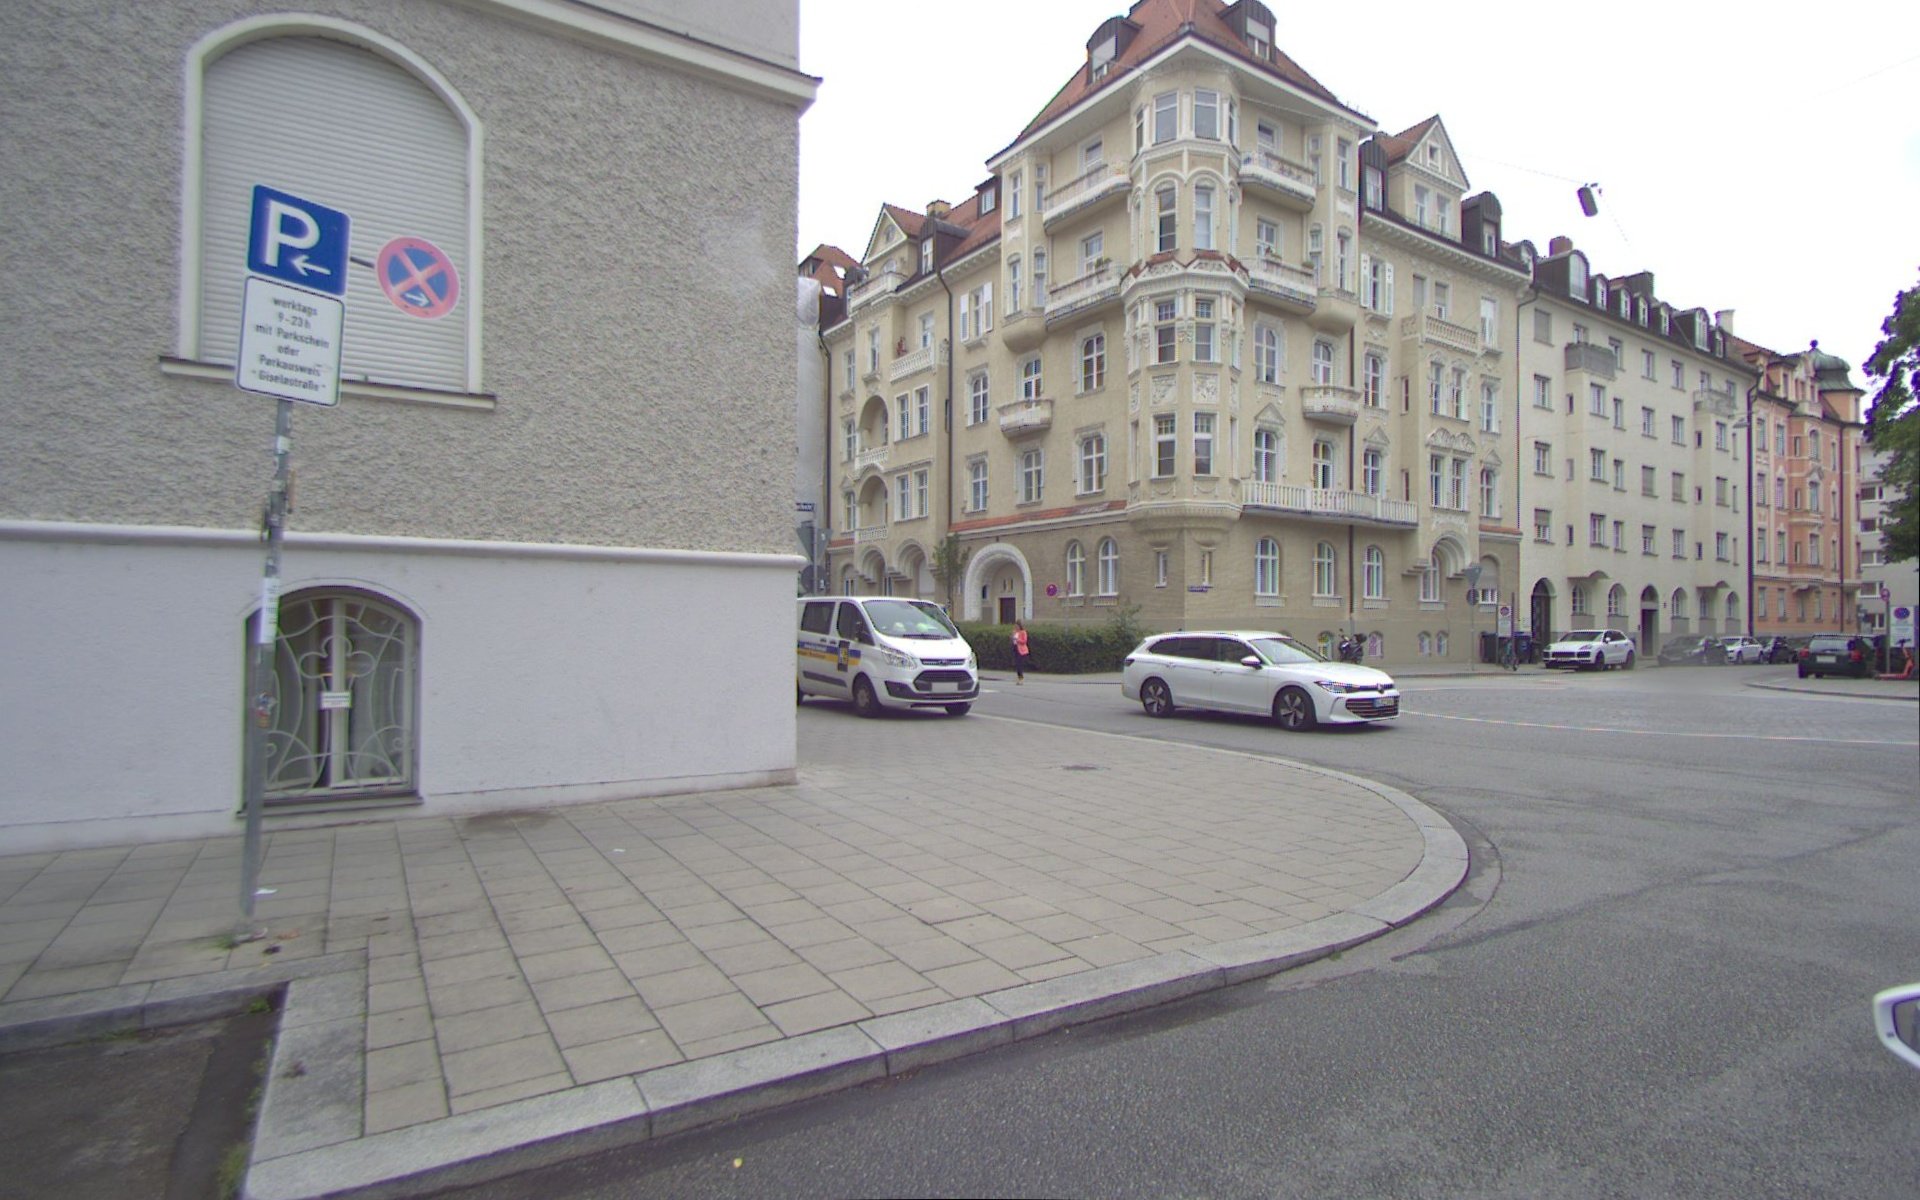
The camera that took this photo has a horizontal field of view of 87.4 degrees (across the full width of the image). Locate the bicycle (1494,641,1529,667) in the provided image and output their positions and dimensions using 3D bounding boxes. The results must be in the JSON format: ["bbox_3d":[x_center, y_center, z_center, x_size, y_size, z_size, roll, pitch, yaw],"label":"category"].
[{"bbox_3d":[22.871,2.236,41.654,1.812,1.063,0.559,2,-2,-36],"label":"bicycle"}]

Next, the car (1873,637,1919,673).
[{"bbox_3d":[42.051,2.426,44.502,4.081,1.525,1.779,2,-3,-40],"label":"car"}]

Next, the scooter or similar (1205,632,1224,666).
[{"bbox_3d":[8.689,1.663,34.292,0.459,1.130,1.215,1,-1,23],"label":"scooter or similar"}]

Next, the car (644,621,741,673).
[{"bbox_3d":[-7.656,1.299,28.557,1.678,1.364,3.648,2,-2,-32],"label":"car"}]

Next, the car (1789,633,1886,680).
[{"bbox_3d":[30.178,1.921,34.507,4.386,1.525,1.804,2,-3,-40],"label":"car"}]

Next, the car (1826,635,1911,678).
[{"bbox_3d":[34.218,2.085,37.809,4.199,1.525,1.779,2,-3,-40],"label":"car"}]

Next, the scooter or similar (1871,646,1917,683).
[{"bbox_3d":[29.069,2.013,31.262,0.984,1.103,0.390,0,-1,29],"label":"scooter or similar"}]

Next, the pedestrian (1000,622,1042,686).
[{"bbox_3d":[1.623,1.410,26.646,0.849,1.657,0.724,2,-2,-41],"label":"pedestrian"}]

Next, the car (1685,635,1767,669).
[{"bbox_3d":[38.319,2.560,50.250,4.361,1.602,1.964,2,-1,-33],"label":"car"}]

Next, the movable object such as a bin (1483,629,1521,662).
[{"bbox_3d":[24.141,2.037,44.757,1.161,1.444,1.085,2,-2,-33],"label":"movable object such as a bin"}]

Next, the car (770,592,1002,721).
[{"bbox_3d":[-1.460,0.894,17.453,1.905,1.905,4.866,2,-2,-33],"label":"car"}]

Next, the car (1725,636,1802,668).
[{"bbox_3d":[42.538,2.728,53.138,4.361,1.602,1.964,2,-1,-33],"label":"car"}]

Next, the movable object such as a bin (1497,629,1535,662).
[{"bbox_3d":[25.132,2.063,45.405,1.161,1.444,1.085,2,-2,-33],"label":"movable object such as a bin"}]

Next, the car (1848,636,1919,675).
[{"bbox_3d":[37.664,2.235,40.790,4.081,1.525,1.779,2,-3,-40],"label":"car"}]

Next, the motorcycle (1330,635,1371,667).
[{"bbox_3d":[15.149,1.961,38.933,1.812,1.191,0.594,2,-2,-36],"label":"motorcycle"}]

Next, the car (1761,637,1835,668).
[{"bbox_3d":[46.648,2.887,55.891,4.361,1.602,1.964,2,-1,-33],"label":"car"}]

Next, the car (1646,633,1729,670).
[{"bbox_3d":[34.384,2.385,47.441,4.671,1.637,1.960,2,-1,-38],"label":"car"}]

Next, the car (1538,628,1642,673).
[{"bbox_3d":[25.922,2.042,41.291,4.793,1.723,1.962,2,-1,-36],"label":"car"}]

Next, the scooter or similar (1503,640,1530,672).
[{"bbox_3d":[21.437,2.143,38.720,0.458,1.209,1.216,1,-1,5],"label":"scooter or similar"}]

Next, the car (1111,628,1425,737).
[{"bbox_3d":[4.884,1.237,16.642,1.873,1.468,4.841,2,-2,-36],"label":"car"}]
